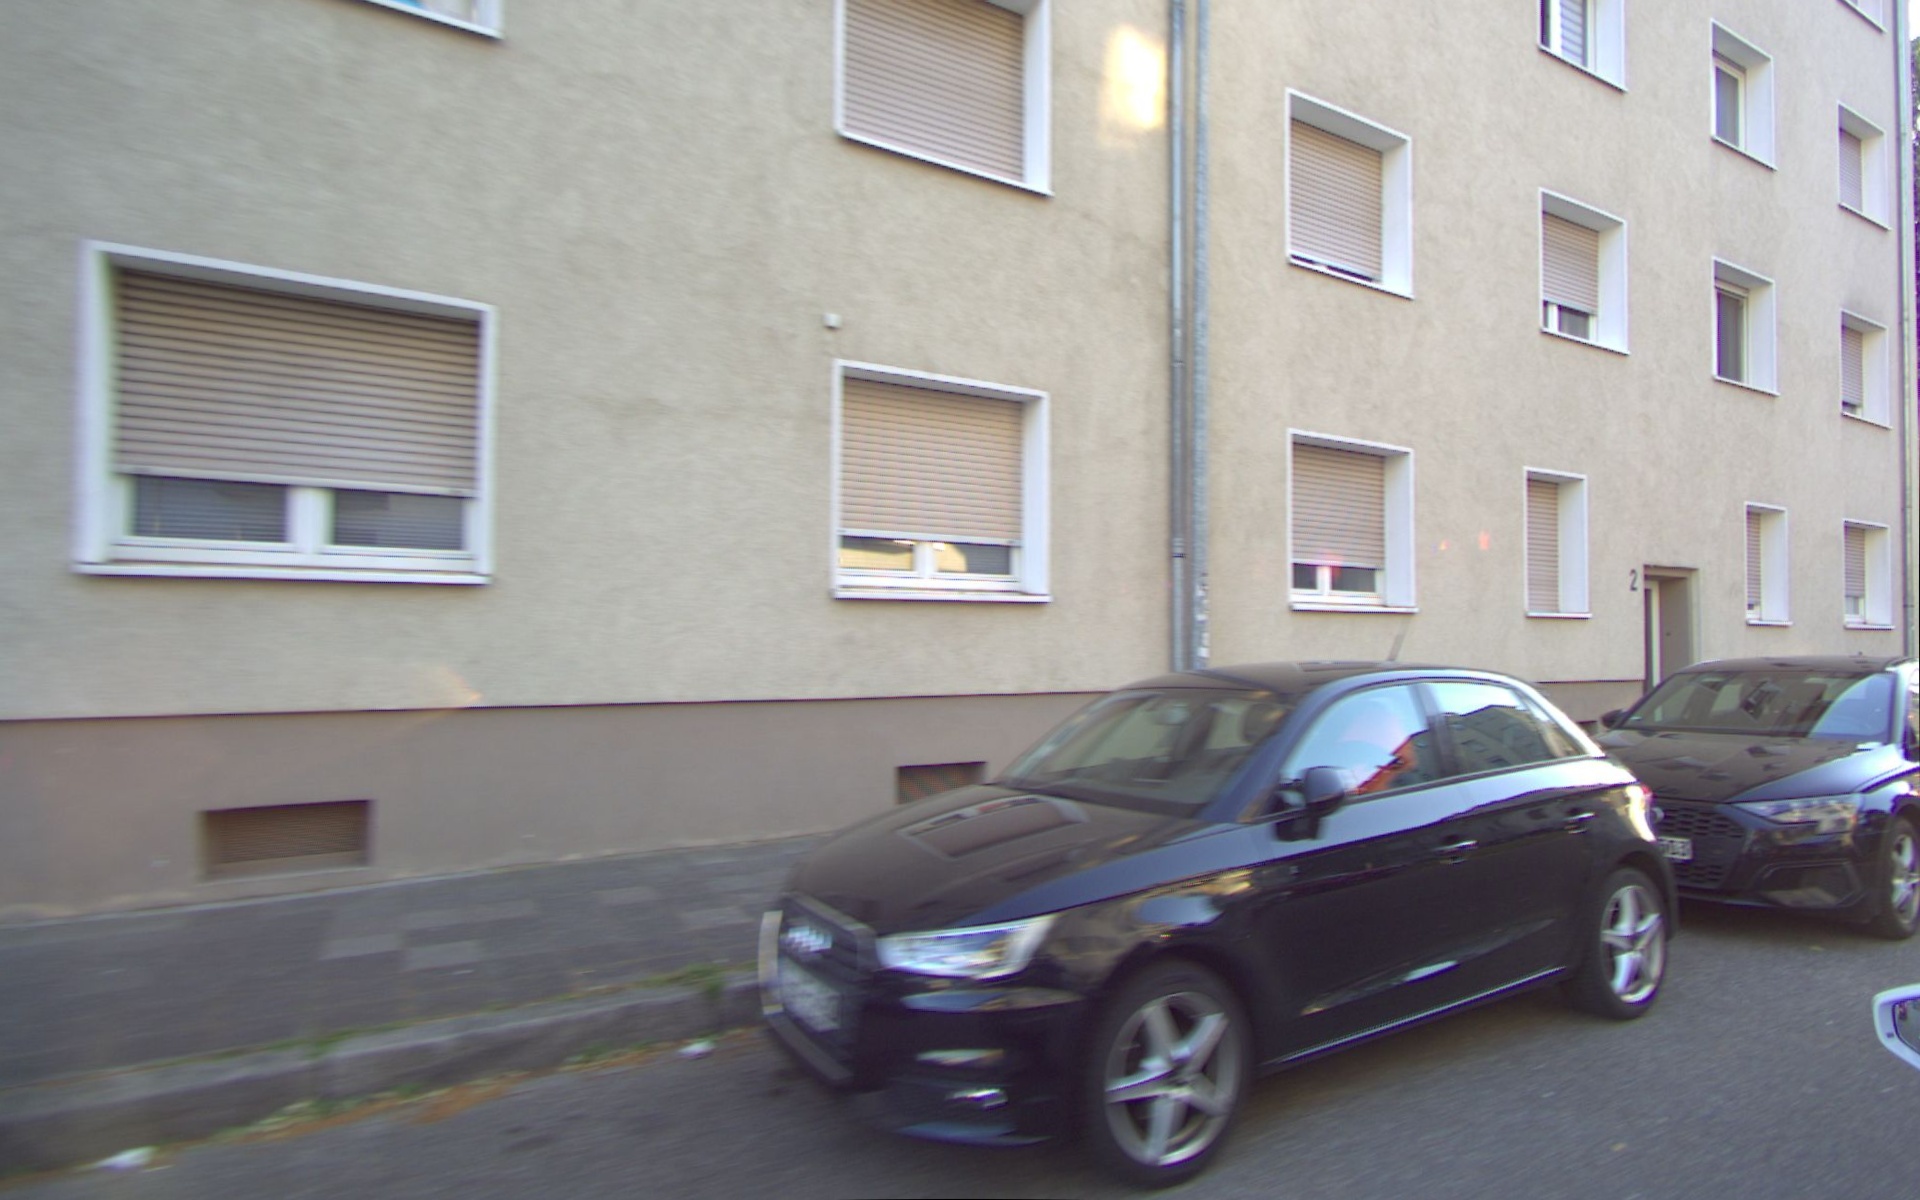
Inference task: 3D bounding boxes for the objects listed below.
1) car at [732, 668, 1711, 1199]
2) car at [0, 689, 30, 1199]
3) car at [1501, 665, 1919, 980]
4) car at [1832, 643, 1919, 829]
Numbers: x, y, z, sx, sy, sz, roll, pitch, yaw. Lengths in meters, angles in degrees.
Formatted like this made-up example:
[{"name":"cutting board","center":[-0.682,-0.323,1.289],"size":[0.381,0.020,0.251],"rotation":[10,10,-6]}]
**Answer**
[{"name":"car","center":[1.173,1.004,4.019],"size":[3.753,1.453,1.645],"rotation":[2,-4,-32]},{"name":"car","center":[-3.923,0.862,1.066],"size":[3.986,1.453,1.651],"rotation":[2,-4,-32]},{"name":"car","center":[5.356,1.146,6.408],"size":[3.833,1.453,1.645],"rotation":[2,-4,-32]},{"name":"car","center":[9.950,1.206,9.367],"size":[3.833,1.585,1.645],"rotation":[2,-4,-32]}]
